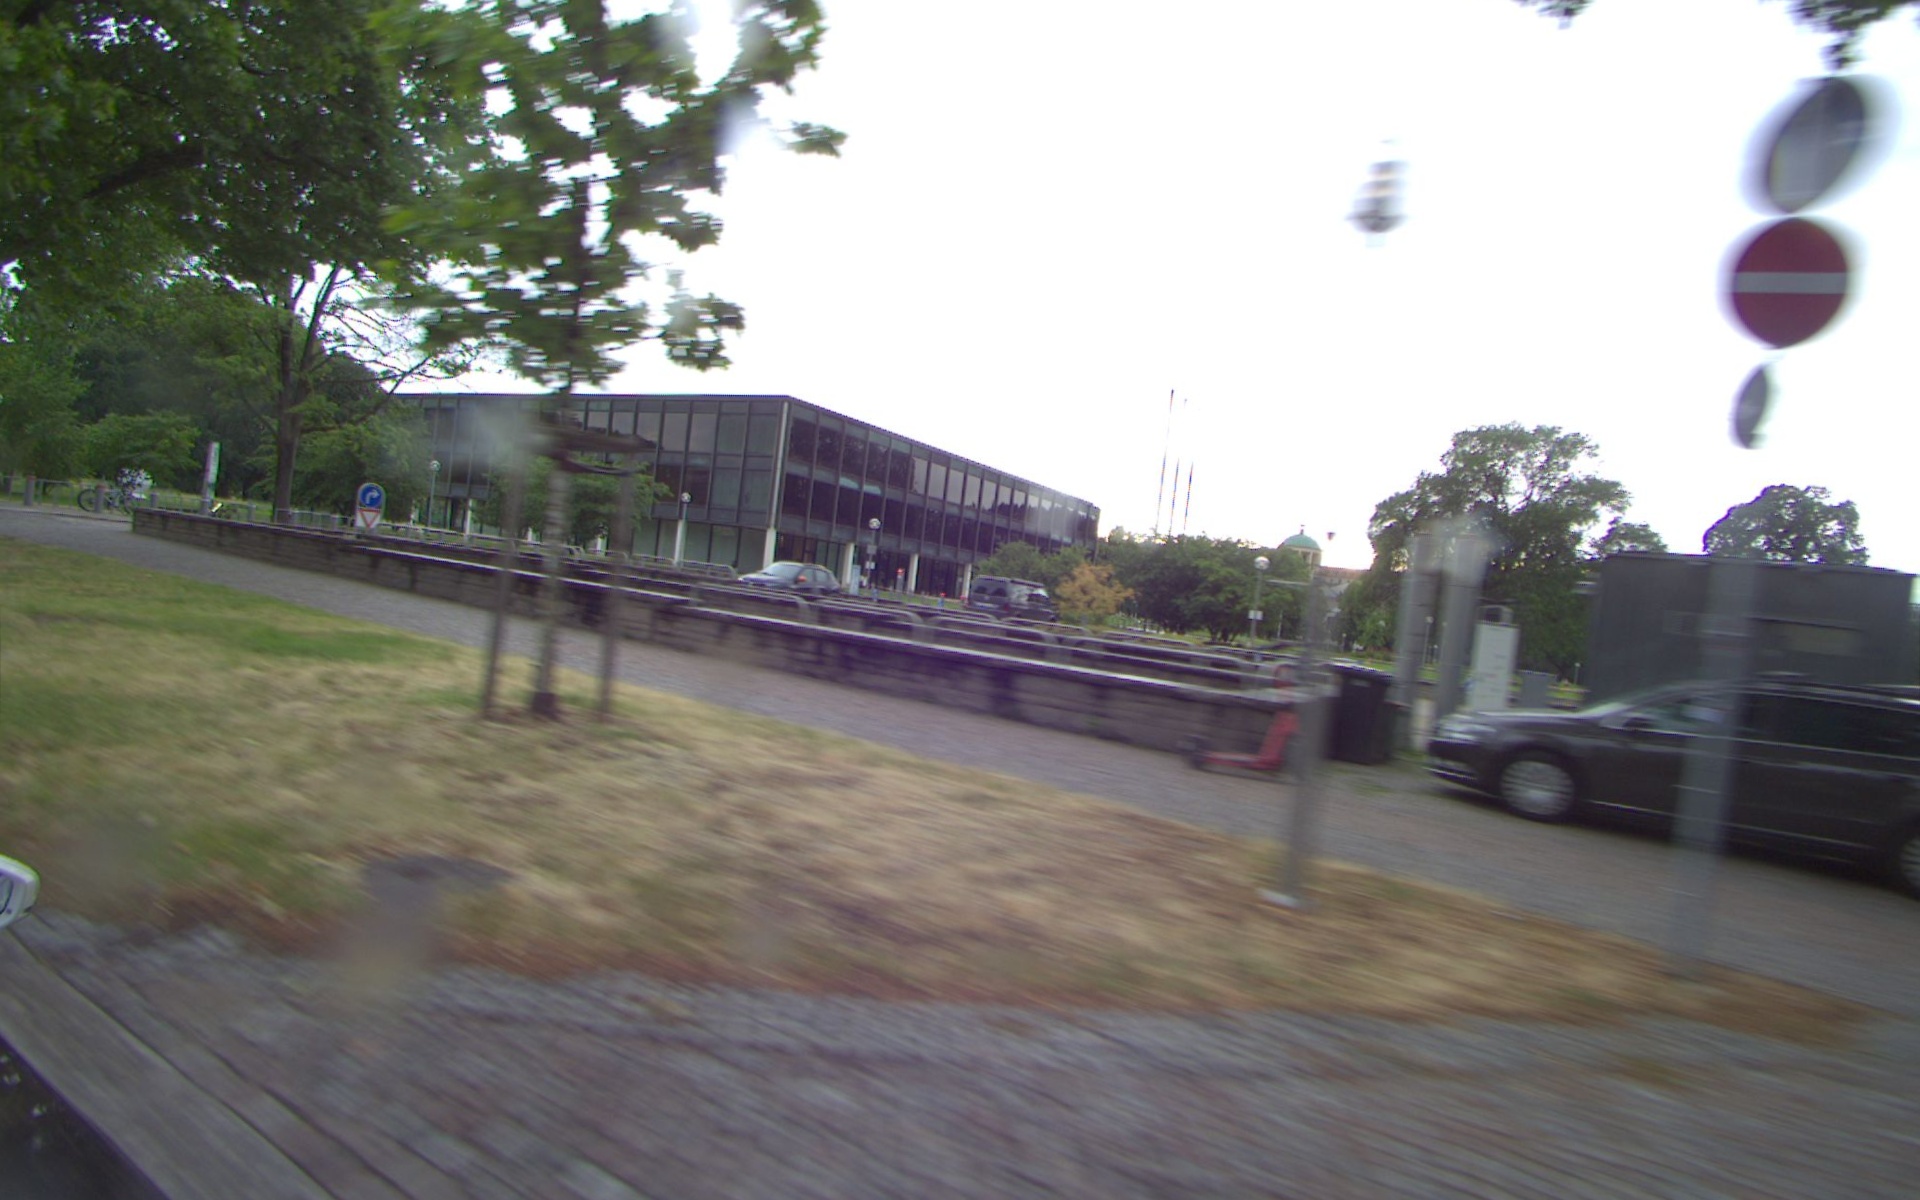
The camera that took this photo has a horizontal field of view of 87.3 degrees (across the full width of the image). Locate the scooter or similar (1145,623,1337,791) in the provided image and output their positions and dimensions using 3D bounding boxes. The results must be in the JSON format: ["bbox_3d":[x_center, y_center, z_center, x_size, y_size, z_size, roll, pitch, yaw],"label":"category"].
[{"bbox_3d":[2.495,0.945,9.032,1.411,1.272,0.543,7,2,-1],"label":"scooter or similar"}]

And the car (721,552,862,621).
[{"bbox_3d":[-4.836,-0.360,29.360,1.630,1.621,3.987,8,2,34],"label":"car"}]

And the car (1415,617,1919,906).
[{"bbox_3d":[6.925,1.394,8.675,5.146,1.630,1.997,9,1,30],"label":"car"}]

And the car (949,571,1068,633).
[{"bbox_3d":[1.953,0.140,38.350,2.418,1.786,5.015,8,0,29],"label":"car"}]

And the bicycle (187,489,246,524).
[{"bbox_3d":[-29.044,-3.642,39.303,0.697,1.099,1.644,9,2,27],"label":"bicycle"}]

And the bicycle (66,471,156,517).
[{"bbox_3d":[-28.398,-3.527,33.680,0.942,1.188,2.039,9,1,22],"label":"bicycle"}]
